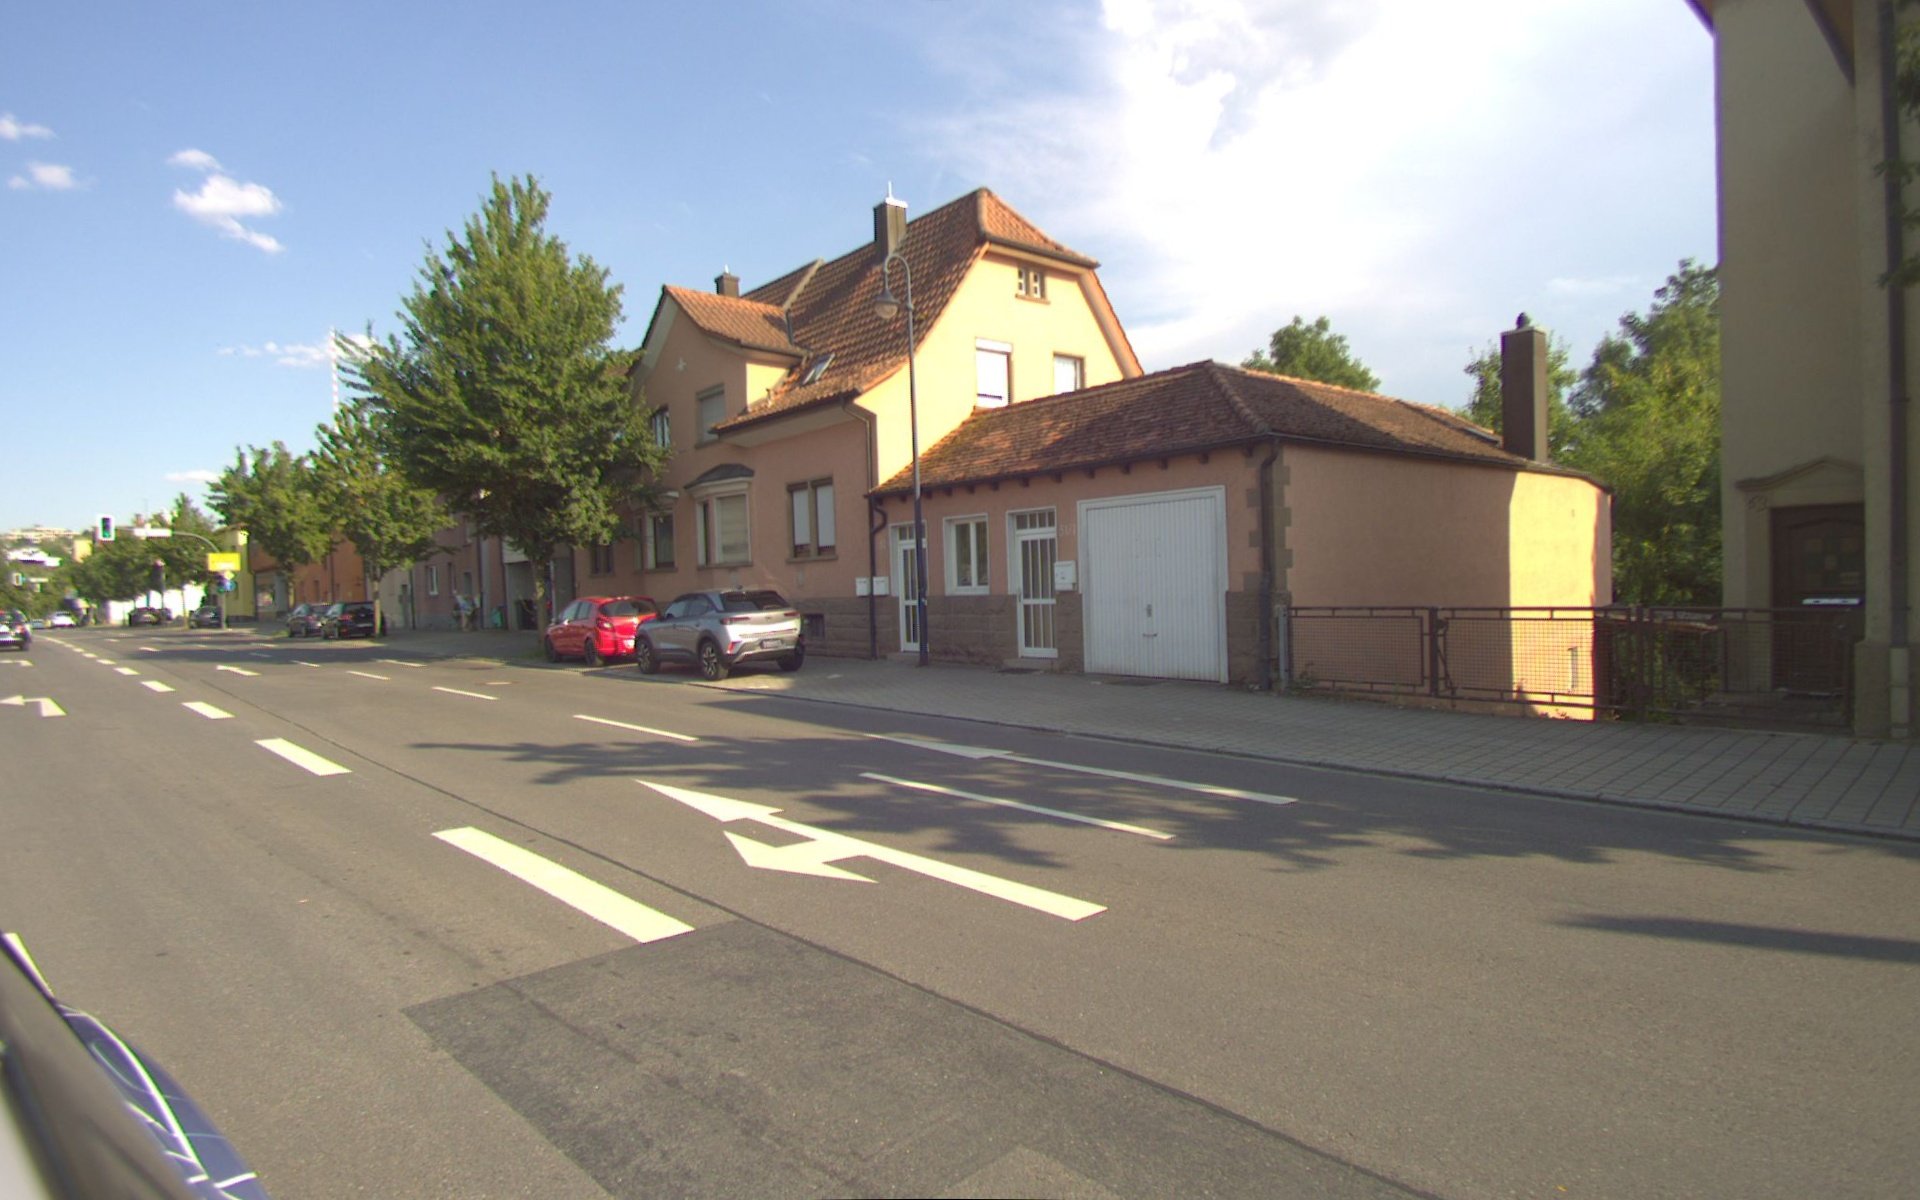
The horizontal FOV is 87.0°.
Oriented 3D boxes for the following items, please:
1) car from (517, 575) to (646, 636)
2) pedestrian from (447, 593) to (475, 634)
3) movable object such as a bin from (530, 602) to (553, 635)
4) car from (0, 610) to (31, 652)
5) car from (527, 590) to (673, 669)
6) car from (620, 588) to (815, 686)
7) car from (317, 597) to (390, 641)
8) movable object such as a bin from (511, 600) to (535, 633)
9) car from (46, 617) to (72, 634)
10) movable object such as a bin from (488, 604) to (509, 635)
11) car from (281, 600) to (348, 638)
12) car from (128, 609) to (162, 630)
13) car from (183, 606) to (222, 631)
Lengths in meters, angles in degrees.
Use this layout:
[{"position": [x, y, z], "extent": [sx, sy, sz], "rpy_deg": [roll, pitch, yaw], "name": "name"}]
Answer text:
[{"position": [-13.254, 0.160, 35.562], "extent": [3.777, 1.895, 1.780], "rpy_deg": [-4, 2, -44], "name": "car"}, {"position": [-19.869, 0.544, 40.305], "extent": [0.712, 1.619, 0.778], "rpy_deg": [-1, 0, 0], "name": "pedestrian"}, {"position": [-15.180, 0.666, 36.729], "extent": [0.575, 1.151, 0.560], "rpy_deg": [-2, 0, 39], "name": "movable object such as a bin"}, {"position": [-34.734, 1.129, 36.605], "extent": [1.514, 1.473, 3.508], "rpy_deg": [-1, 0, -45], "name": "car"}, {"position": [-8.078, 0.611, 22.501], "extent": [1.645, 1.498, 4.006], "rpy_deg": [-5, 3, -41], "name": "car"}, {"position": [-4.516, 0.631, 18.492], "extent": [1.734, 1.490, 4.006], "rpy_deg": [-5, 2, -41], "name": "car"}, {"position": [-23.887, 0.725, 39.818], "extent": [1.646, 1.543, 3.907], "rpy_deg": [-5, 2, -42], "name": "car"}, {"position": [-15.588, 0.574, 36.084], "extent": [0.575, 1.151, 0.560], "rpy_deg": [-2, 0, 39], "name": "movable object such as a bin"}, {"position": [-91.558, 2.616, 102.850], "extent": [4.414, 1.624, 1.667], "rpy_deg": [-1, 0, 44], "name": "car"}, {"position": [-17.468, 0.734, 38.321], "extent": [0.544, 1.151, 0.530], "rpy_deg": [-1, 0, -43], "name": "movable object such as a bin"}, {"position": [-28.204, 0.837, 44.182], "extent": [3.886, 1.521, 1.495], "rpy_deg": [-2, 2, 43], "name": "car"}, {"position": [-67.162, 1.600, 83.400], "extent": [1.833, 1.607, 4.464], "rpy_deg": [-1, 0, -44], "name": "car"}, {"position": [-48.927, 1.212, 65.380], "extent": [1.573, 1.449, 3.779], "rpy_deg": [-7, 4, -42], "name": "car"}]
